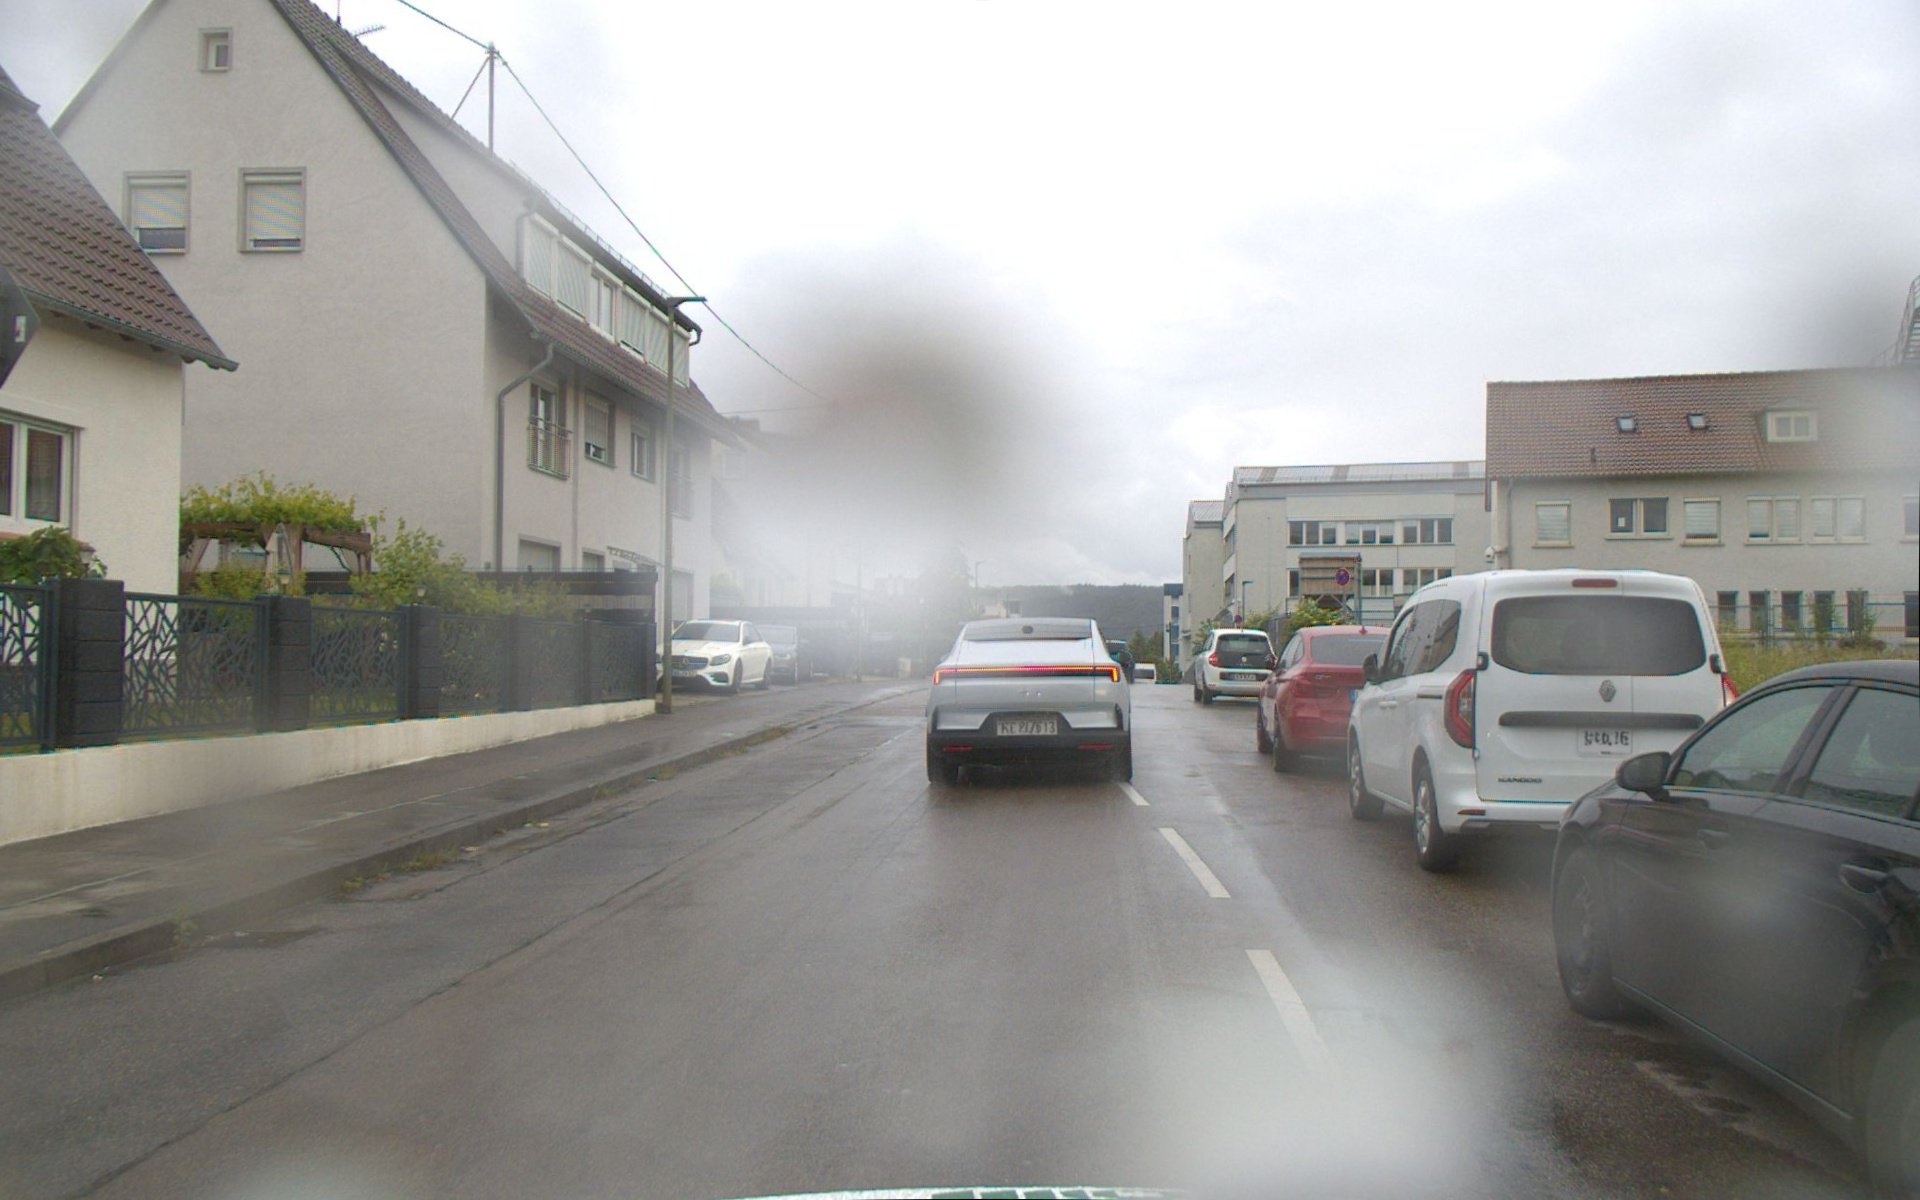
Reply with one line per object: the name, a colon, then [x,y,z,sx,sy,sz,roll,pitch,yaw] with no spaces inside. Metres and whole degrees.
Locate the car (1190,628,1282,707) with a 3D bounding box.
car: [5.905,1.424,35.675,1.646,1.585,3.676,1,-1,5]

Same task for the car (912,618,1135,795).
car: [0.793,0.969,16.831,1.951,1.528,4.672,0,-1,6]

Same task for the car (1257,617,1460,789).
car: [4.228,1.024,18.157,1.607,1.602,4.646,1,-1,7]

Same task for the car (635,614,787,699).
car: [-5.078,1.146,34.498,1.952,1.536,4.898,3,-1,5]

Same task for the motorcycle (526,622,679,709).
motorcycle: [-5.948,1.085,27.557,2.313,1.296,0.736,3,-1,6]

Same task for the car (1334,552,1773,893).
car: [3.818,0.712,11.502,1.731,1.857,4.576,1,-1,5]

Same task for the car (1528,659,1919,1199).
car: [3.171,0.919,4.997,1.731,1.359,4.323,1,-1,5]

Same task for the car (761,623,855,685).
car: [-3.770,1.329,41.781,1.789,1.392,4.570,3,-1,1]

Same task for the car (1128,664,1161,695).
car: [12.997,5.639,116.601,1.952,2.049,4.000,-1,-5,2]
